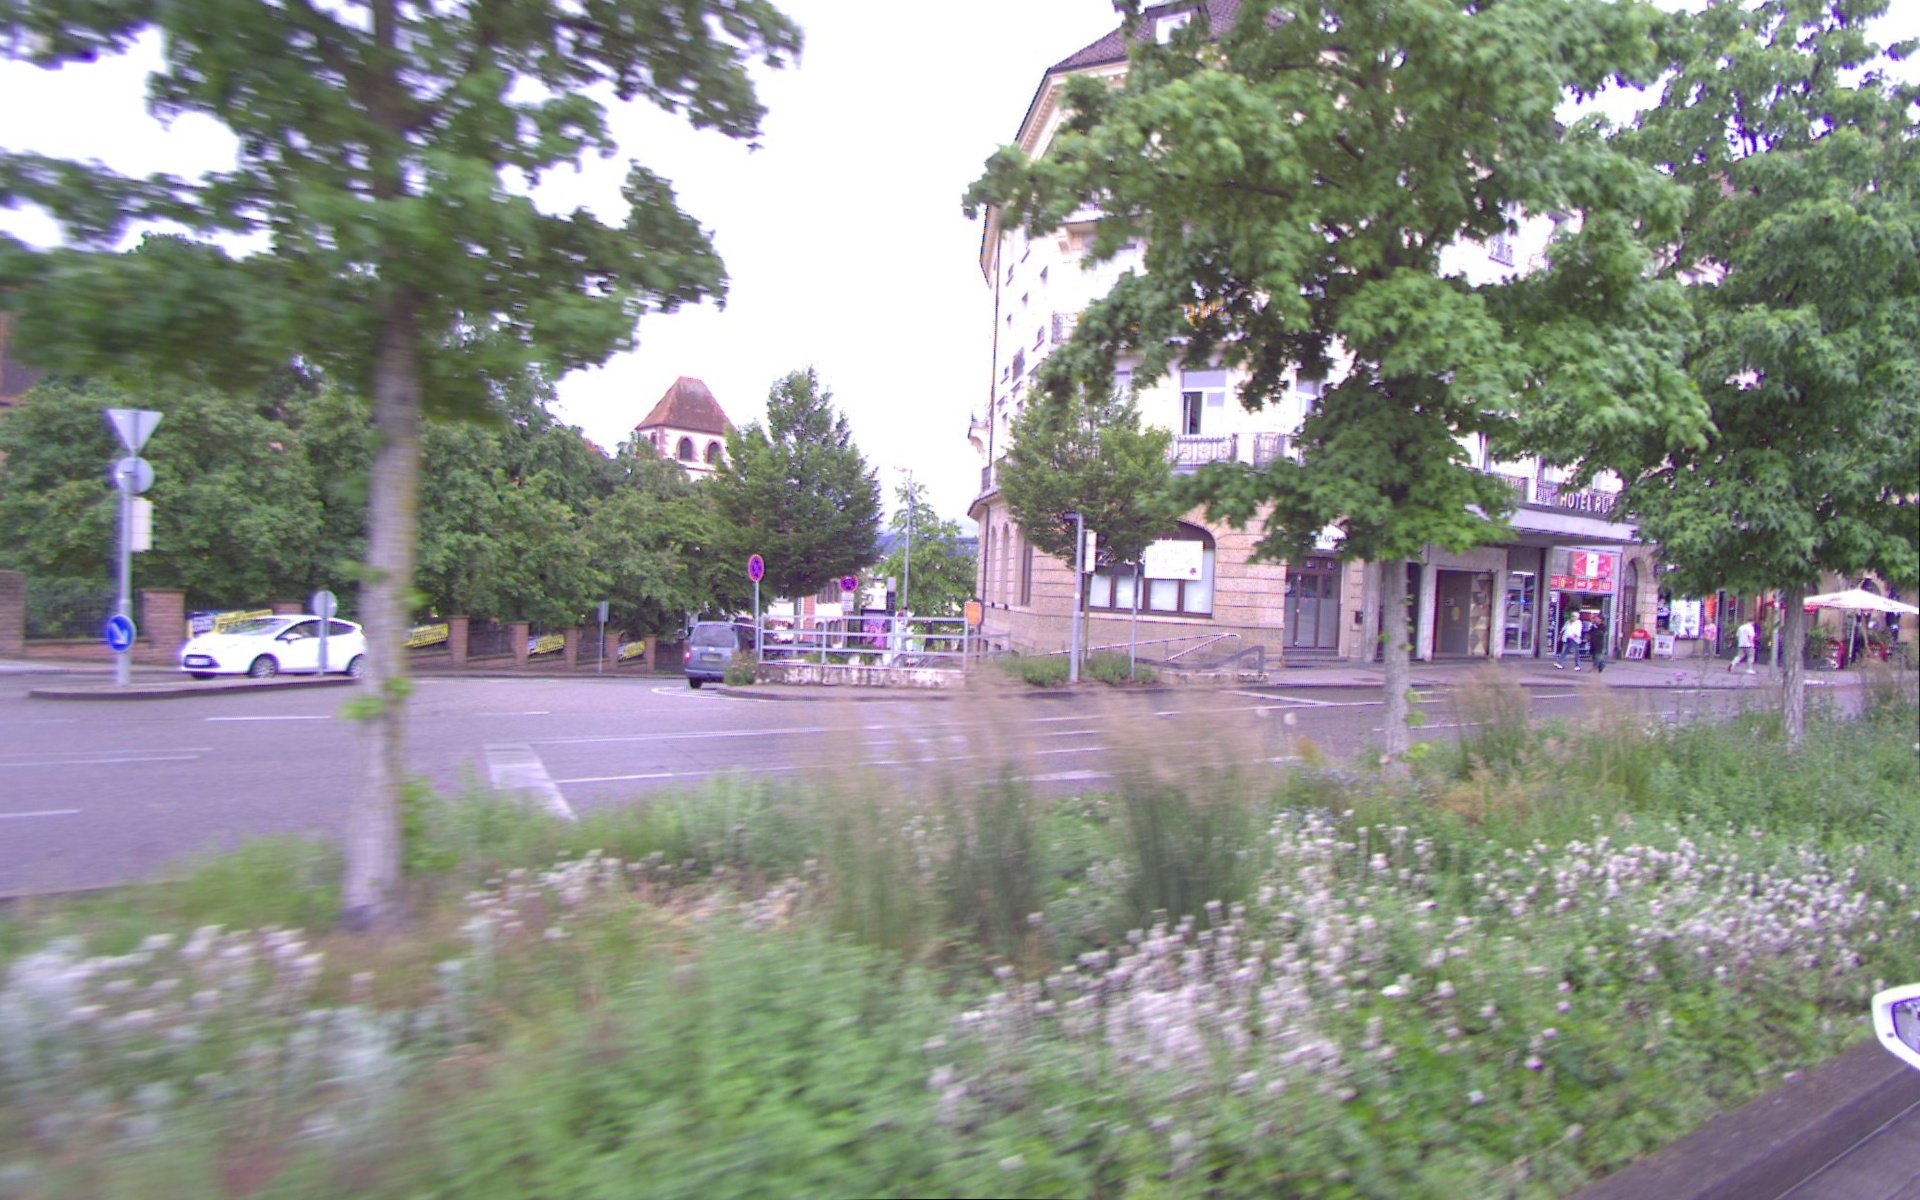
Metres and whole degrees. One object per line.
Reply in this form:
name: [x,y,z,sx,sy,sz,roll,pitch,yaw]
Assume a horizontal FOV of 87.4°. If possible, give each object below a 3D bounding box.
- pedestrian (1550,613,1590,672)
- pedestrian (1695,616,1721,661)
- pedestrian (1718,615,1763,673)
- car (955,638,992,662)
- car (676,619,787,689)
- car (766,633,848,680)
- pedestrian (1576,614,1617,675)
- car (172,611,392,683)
pedestrian: [17.675,1.237,29.123,0.797,1.685,0.679,2,-1,-27]
pedestrian: [28.033,1.446,37.637,0.532,1.685,0.661,2,-2,-39]
pedestrian: [25.550,1.455,32.887,0.742,1.836,0.875,2,-5,-30]
car: [0.937,3.282,66.403,1.734,1.498,4.003,1,-2,11]
car: [-6.377,1.455,28.459,1.602,1.782,4.003,1,-1,10]
car: [-5.231,1.906,34.819,1.602,1.416,4.003,1,-1,10]
pedestrian: [18.034,1.261,28.467,0.797,1.685,0.678,2,-1,-30]
car: [-14.895,1.020,22.359,1.602,1.416,4.003,1,-2,13]
